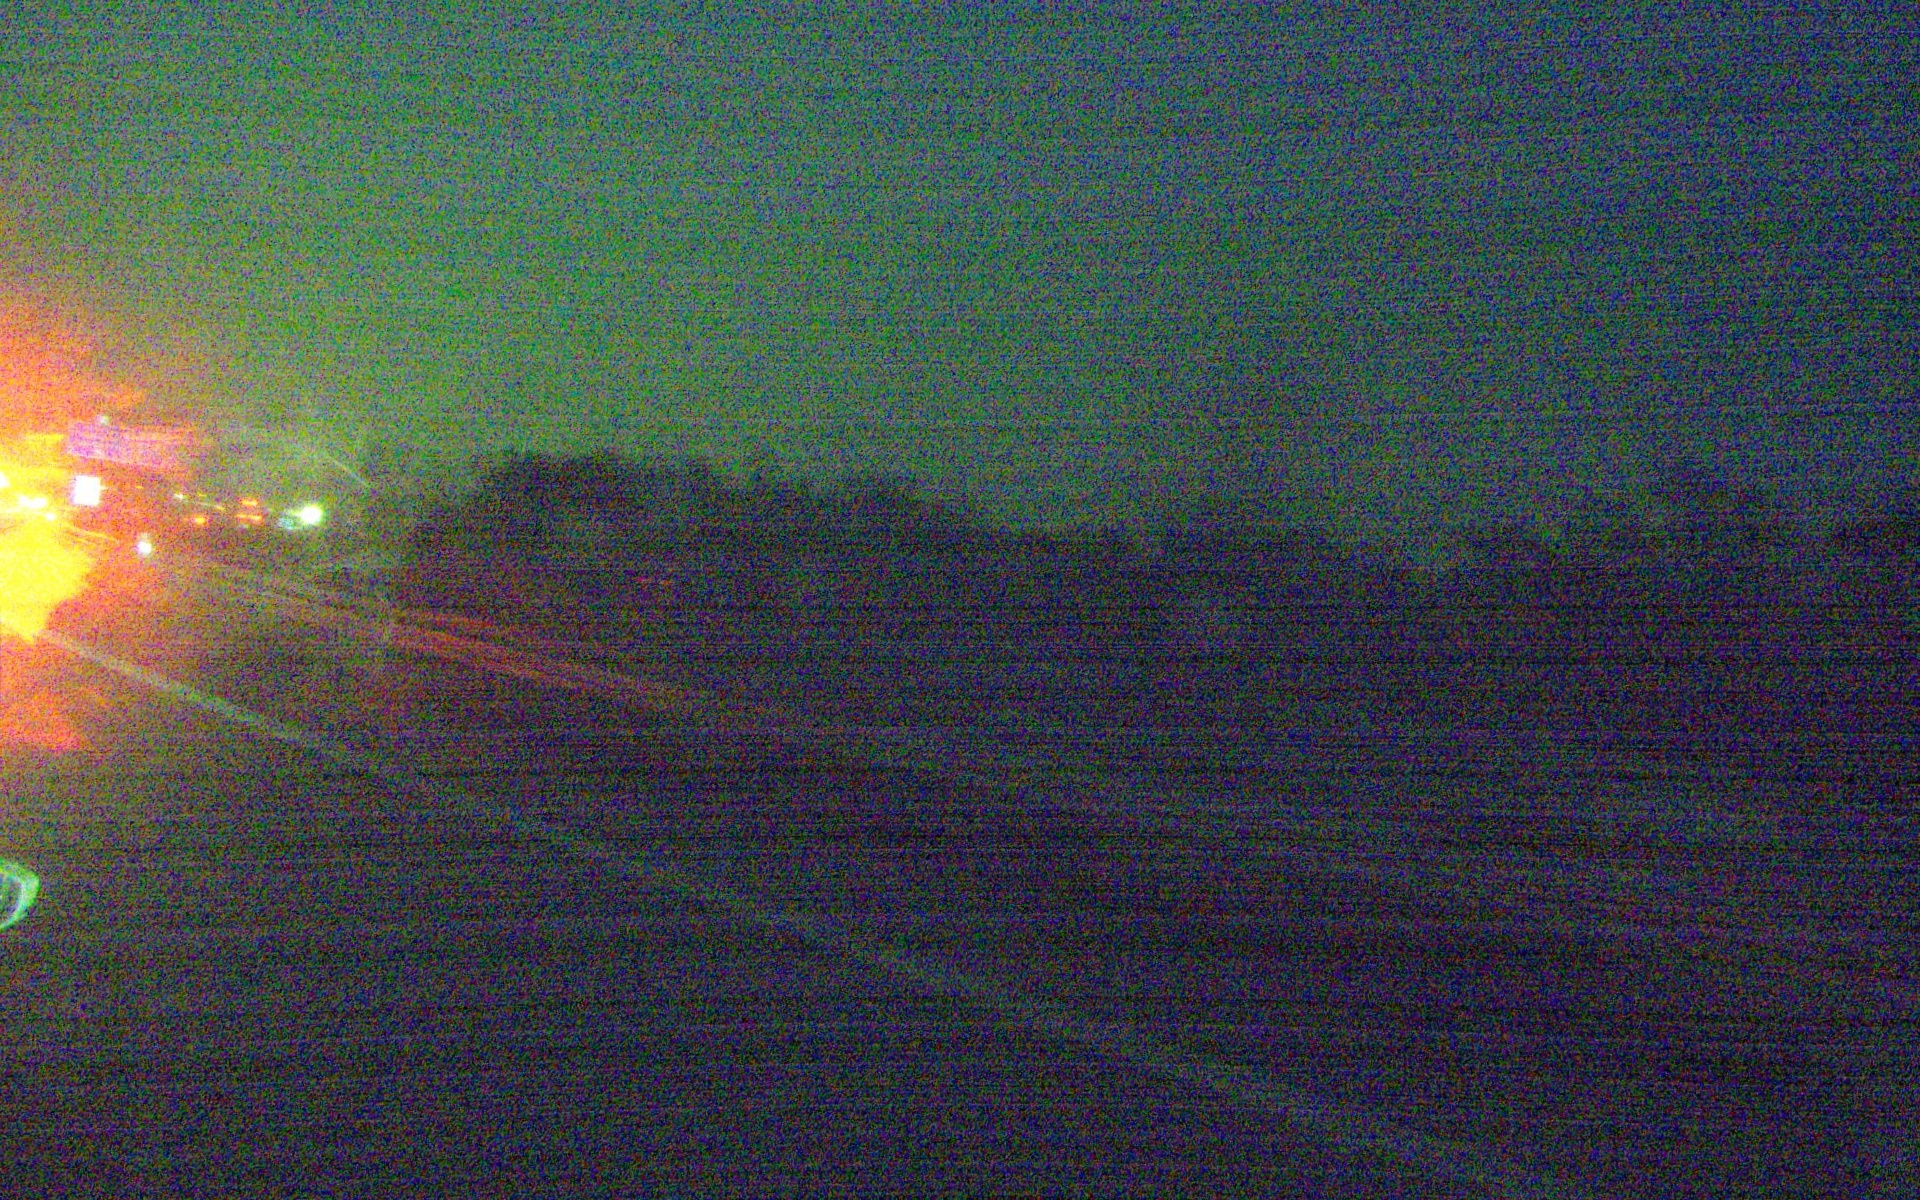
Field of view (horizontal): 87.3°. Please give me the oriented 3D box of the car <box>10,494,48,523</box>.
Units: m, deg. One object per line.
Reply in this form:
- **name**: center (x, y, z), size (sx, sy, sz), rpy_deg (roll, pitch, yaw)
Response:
- **car**: center (-76.452, -7.484, 82.661), size (1.888, 2.021, 4.001), rpy_deg (8, -1, -40)
